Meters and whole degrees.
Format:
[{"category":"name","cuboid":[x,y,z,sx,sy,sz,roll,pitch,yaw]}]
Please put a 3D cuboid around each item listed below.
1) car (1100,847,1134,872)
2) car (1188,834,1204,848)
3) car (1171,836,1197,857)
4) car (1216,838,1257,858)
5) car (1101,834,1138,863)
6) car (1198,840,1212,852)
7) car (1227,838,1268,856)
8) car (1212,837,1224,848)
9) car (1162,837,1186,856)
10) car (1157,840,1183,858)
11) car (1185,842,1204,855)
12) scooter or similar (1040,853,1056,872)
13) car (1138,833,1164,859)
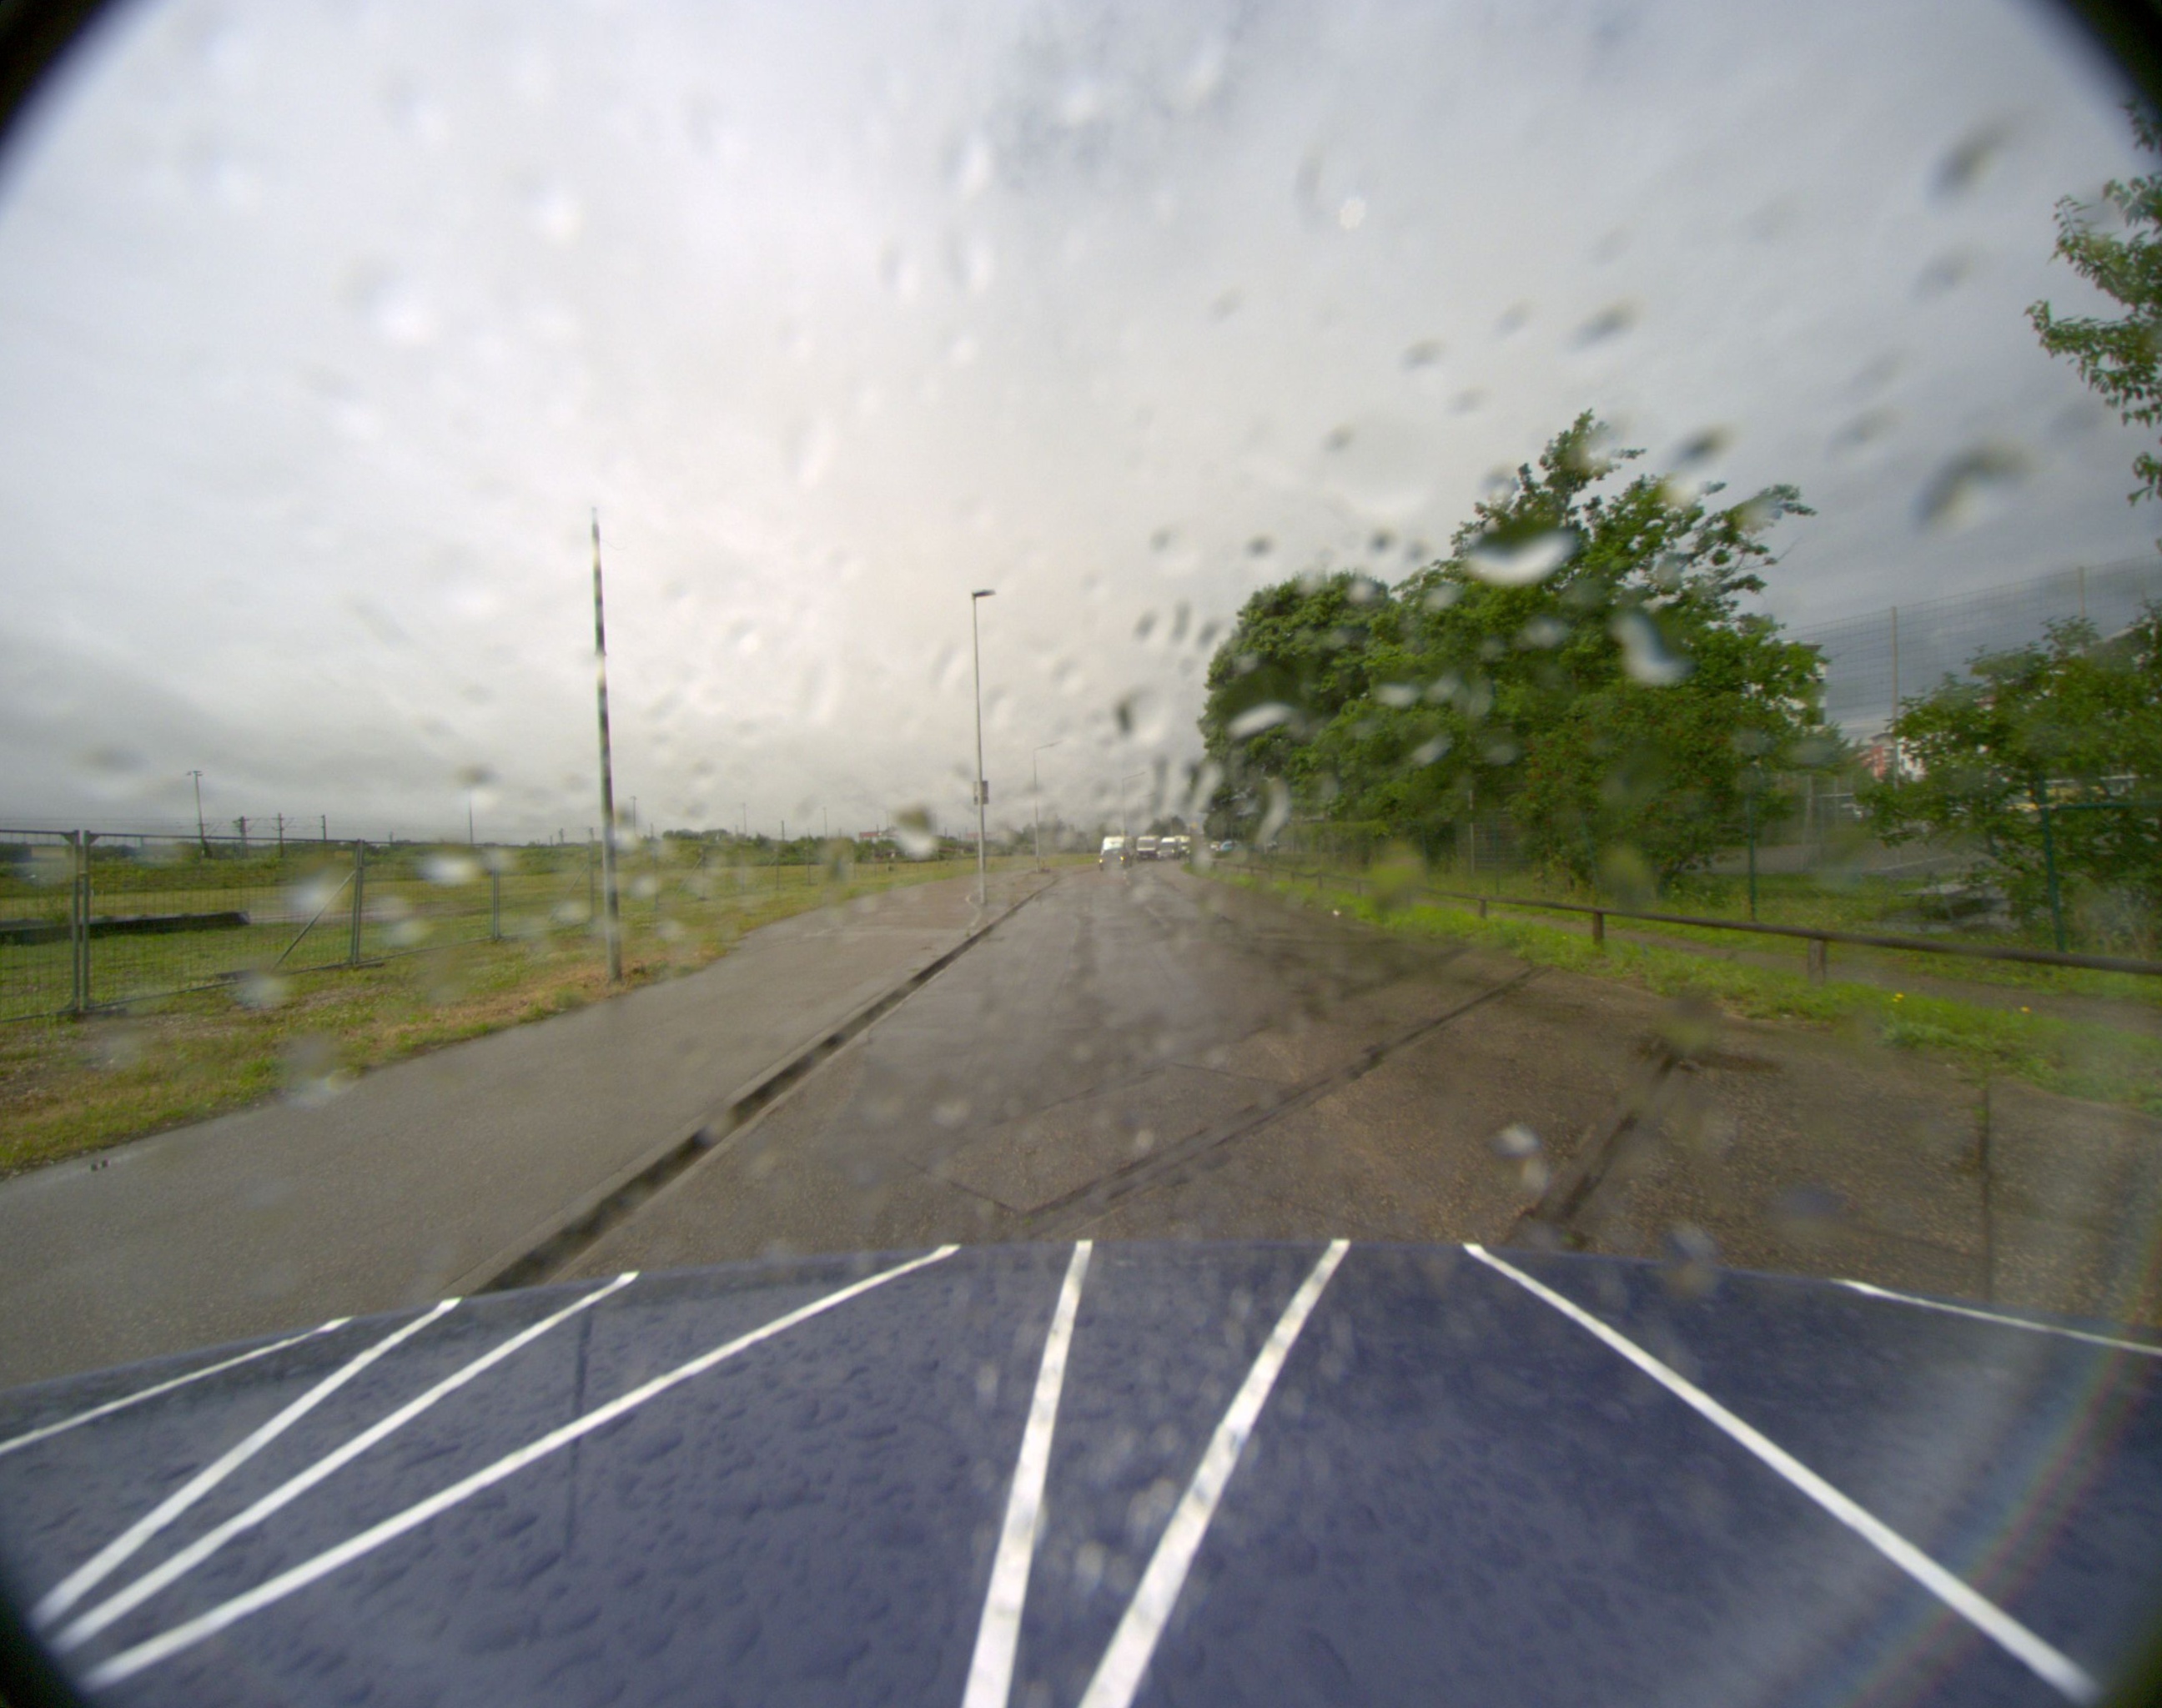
[{"category":"car","cuboid":[2.489,0.345,51.466,1.873,1.510,4.359,-2,1,7]},{"category":"car","cuboid":[19.598,-2.156,129.311,1.996,2.228,4.568,-2,1,15]},{"category":"car","cuboid":[15.184,-1.162,111.799,2.474,2.939,6.894,-1,1,18]},{"category":"car","cuboid":[15.921,-0.604,77.833,3.815,1.624,1.757,-5,0,18]},{"category":"car","cuboid":[3.582,-0.544,69.185,2.094,2.459,5.953,-1,1,15]},{"category":"car","cuboid":[23.123,-1.510,141.049,1.996,2.228,4.568,-2,1,15]},{"category":"car","cuboid":[18.095,-0.752,82.535,4.179,1.540,1.861,-5,0,15]},{"category":"car","cuboid":[29.288,-2.362,161.990,1.996,2.228,4.568,-2,1,15]},{"category":"car","cuboid":[12.604,-1.046,102.283,2.071,2.514,6.665,0,1,17]},{"category":"car","cuboid":[9.202,-0.504,78.529,2.008,1.695,4.333,-3,0,15]},{"category":"car","cuboid":[14.856,-0.730,99.540,1.839,1.510,4.361,-2,1,16]},{"category":"scooter or similar","cuboid":[-2.214,0.584,51.719,0.491,1.208,1.342,-2,1,24]},{"category":"car","cuboid":[7.944,-0.938,85.332,2.147,2.867,5.280,1,2,14]}]
